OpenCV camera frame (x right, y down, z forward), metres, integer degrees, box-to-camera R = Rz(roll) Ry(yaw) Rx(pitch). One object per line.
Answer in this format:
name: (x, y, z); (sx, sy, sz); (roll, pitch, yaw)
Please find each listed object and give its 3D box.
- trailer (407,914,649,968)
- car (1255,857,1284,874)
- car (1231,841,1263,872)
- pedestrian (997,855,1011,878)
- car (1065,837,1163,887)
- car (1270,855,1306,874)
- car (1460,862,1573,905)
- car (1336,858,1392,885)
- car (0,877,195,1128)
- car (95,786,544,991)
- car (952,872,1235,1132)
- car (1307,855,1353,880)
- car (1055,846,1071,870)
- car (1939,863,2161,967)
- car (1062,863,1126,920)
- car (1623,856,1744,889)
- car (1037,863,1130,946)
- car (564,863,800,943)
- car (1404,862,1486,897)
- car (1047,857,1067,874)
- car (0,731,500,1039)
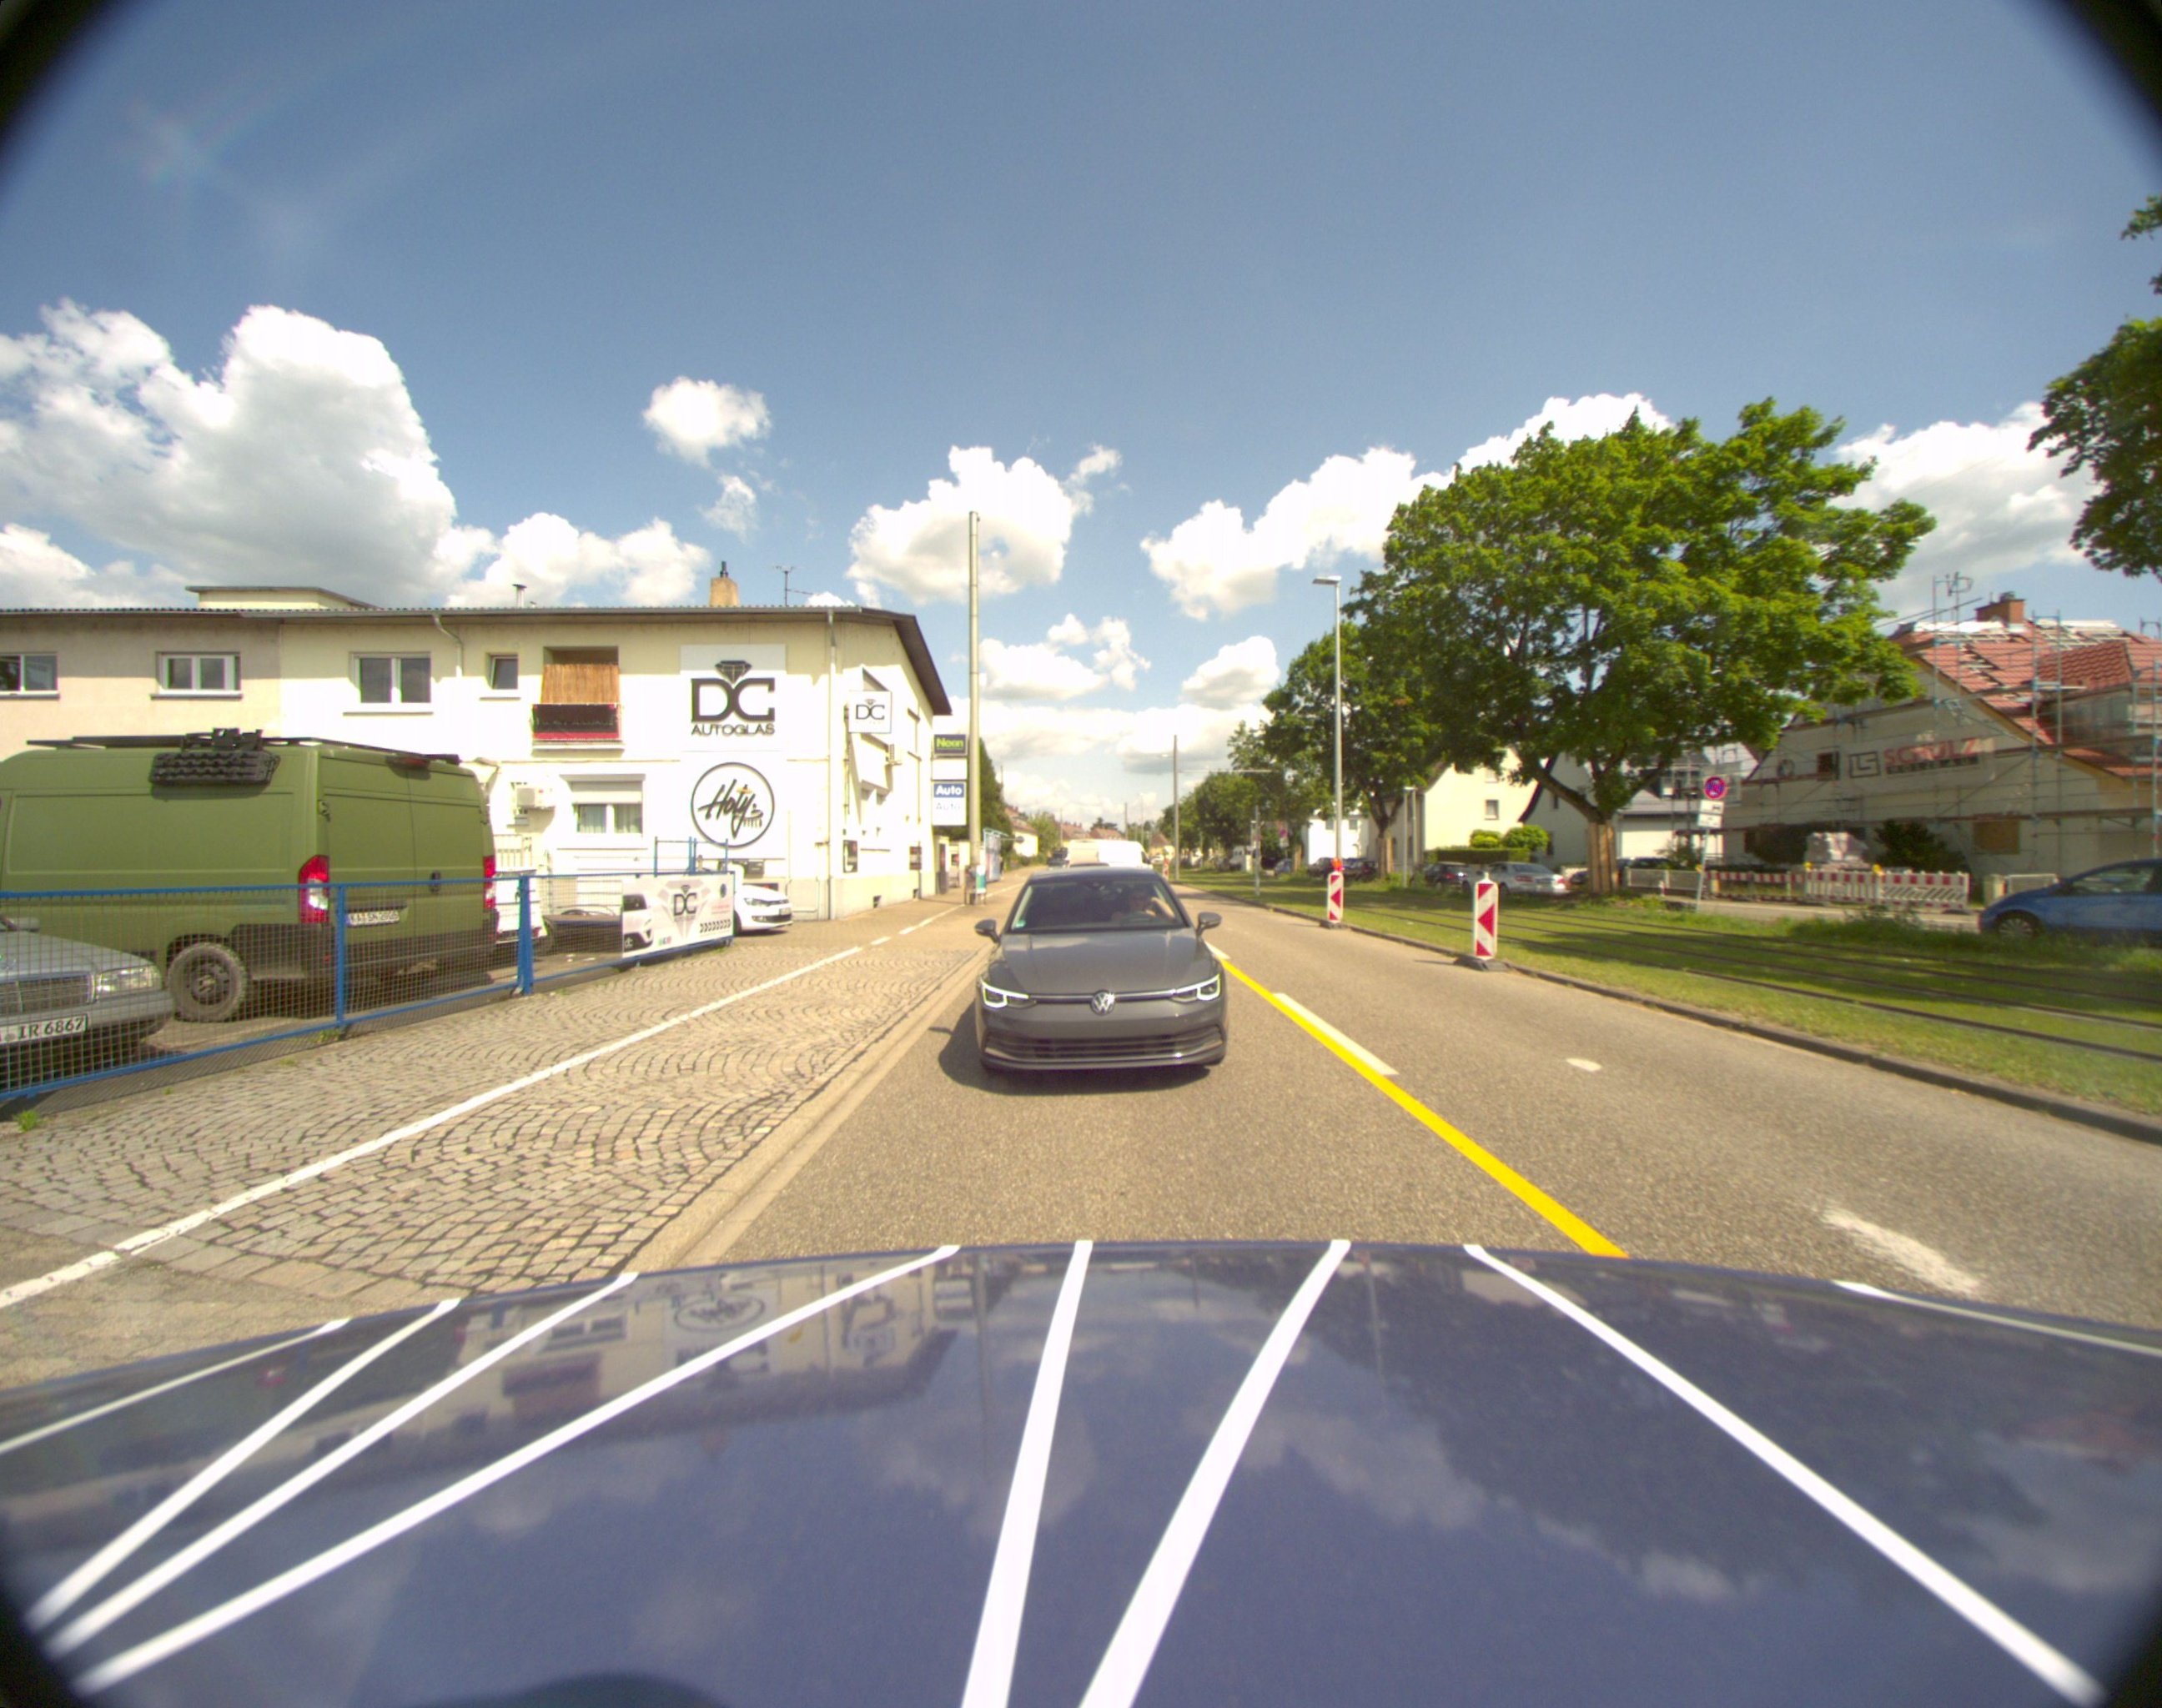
trailer: (-8.375, 1.312, 11.659); (2.733, 0.662, 1.329); (0, 0, -1)
car: (17.633, 1.094, 71.329); (1.702, 1.477, 4.407); (-1, -1, 1)
car: (16.804, 0.290, 77.274); (2.136, 3.019, 5.084); (-1, -1, 1)
pedestrian: (-5.886, 0.965, 58.279); (0.941, 1.741, 1.278); (0, 0, 1)
car: (1.827, 0.417, 39.725); (2.086, 2.449, 5.855); (2, 0, 37)
car: (16.632, 0.890, 61.284); (1.702, 1.477, 4.407); (-1, -1, 1)
car: (16.410, 1.077, 28.938); (1.788, 1.477, 4.523); (-1, -1, 2)
car: (16.759, 1.048, 45.157); (1.702, 1.477, 4.407); (-1, -1, 1)
car: (-8.466, 0.893, 4.774); (4.282, 1.444, 1.713); (0, 0, 8)
car: (-9.510, 0.408, 9.709); (4.207, 2.392, 1.586); (0, 0, 2)
car: (0.103, 0.942, 6.579); (1.702, 1.477, 4.000); (0, 0, 1)
car: (16.542, 0.912, 50.663); (1.702, 1.562, 4.407); (-1, -1, 1)
car: (-1.927, 0.465, 82.439); (1.702, 2.510, 5.144); (0, 0, 0)
car: (16.205, 0.874, 11.401); (1.702, 1.477, 4.407); (-1, -1, 1)
car: (0.377, 1.011, 22.177); (1.702, 1.477, 4.000); (0, 0, 1)
car: (28.896, 0.903, 36.514); (4.402, 1.477, 1.704); (-1, -1, 1)
car: (0.071, 0.948, 15.843); (1.702, 1.477, 4.000); (0, 0, 1)
car: (-7.670, 0.922, 14.817); (3.775, 1.454, 1.555); (0, 0, 2)
car: (16.615, 1.132, 34.939); (1.702, 1.477, 4.407); (-1, -1, 1)
car: (-2.198, 1.061, 70.754); (1.702, 1.574, 4.000); (0, 0, 1)
car: (-8.733, 0.276, 7.609); (4.207, 2.627, 2.113); (0, 0, 2)
